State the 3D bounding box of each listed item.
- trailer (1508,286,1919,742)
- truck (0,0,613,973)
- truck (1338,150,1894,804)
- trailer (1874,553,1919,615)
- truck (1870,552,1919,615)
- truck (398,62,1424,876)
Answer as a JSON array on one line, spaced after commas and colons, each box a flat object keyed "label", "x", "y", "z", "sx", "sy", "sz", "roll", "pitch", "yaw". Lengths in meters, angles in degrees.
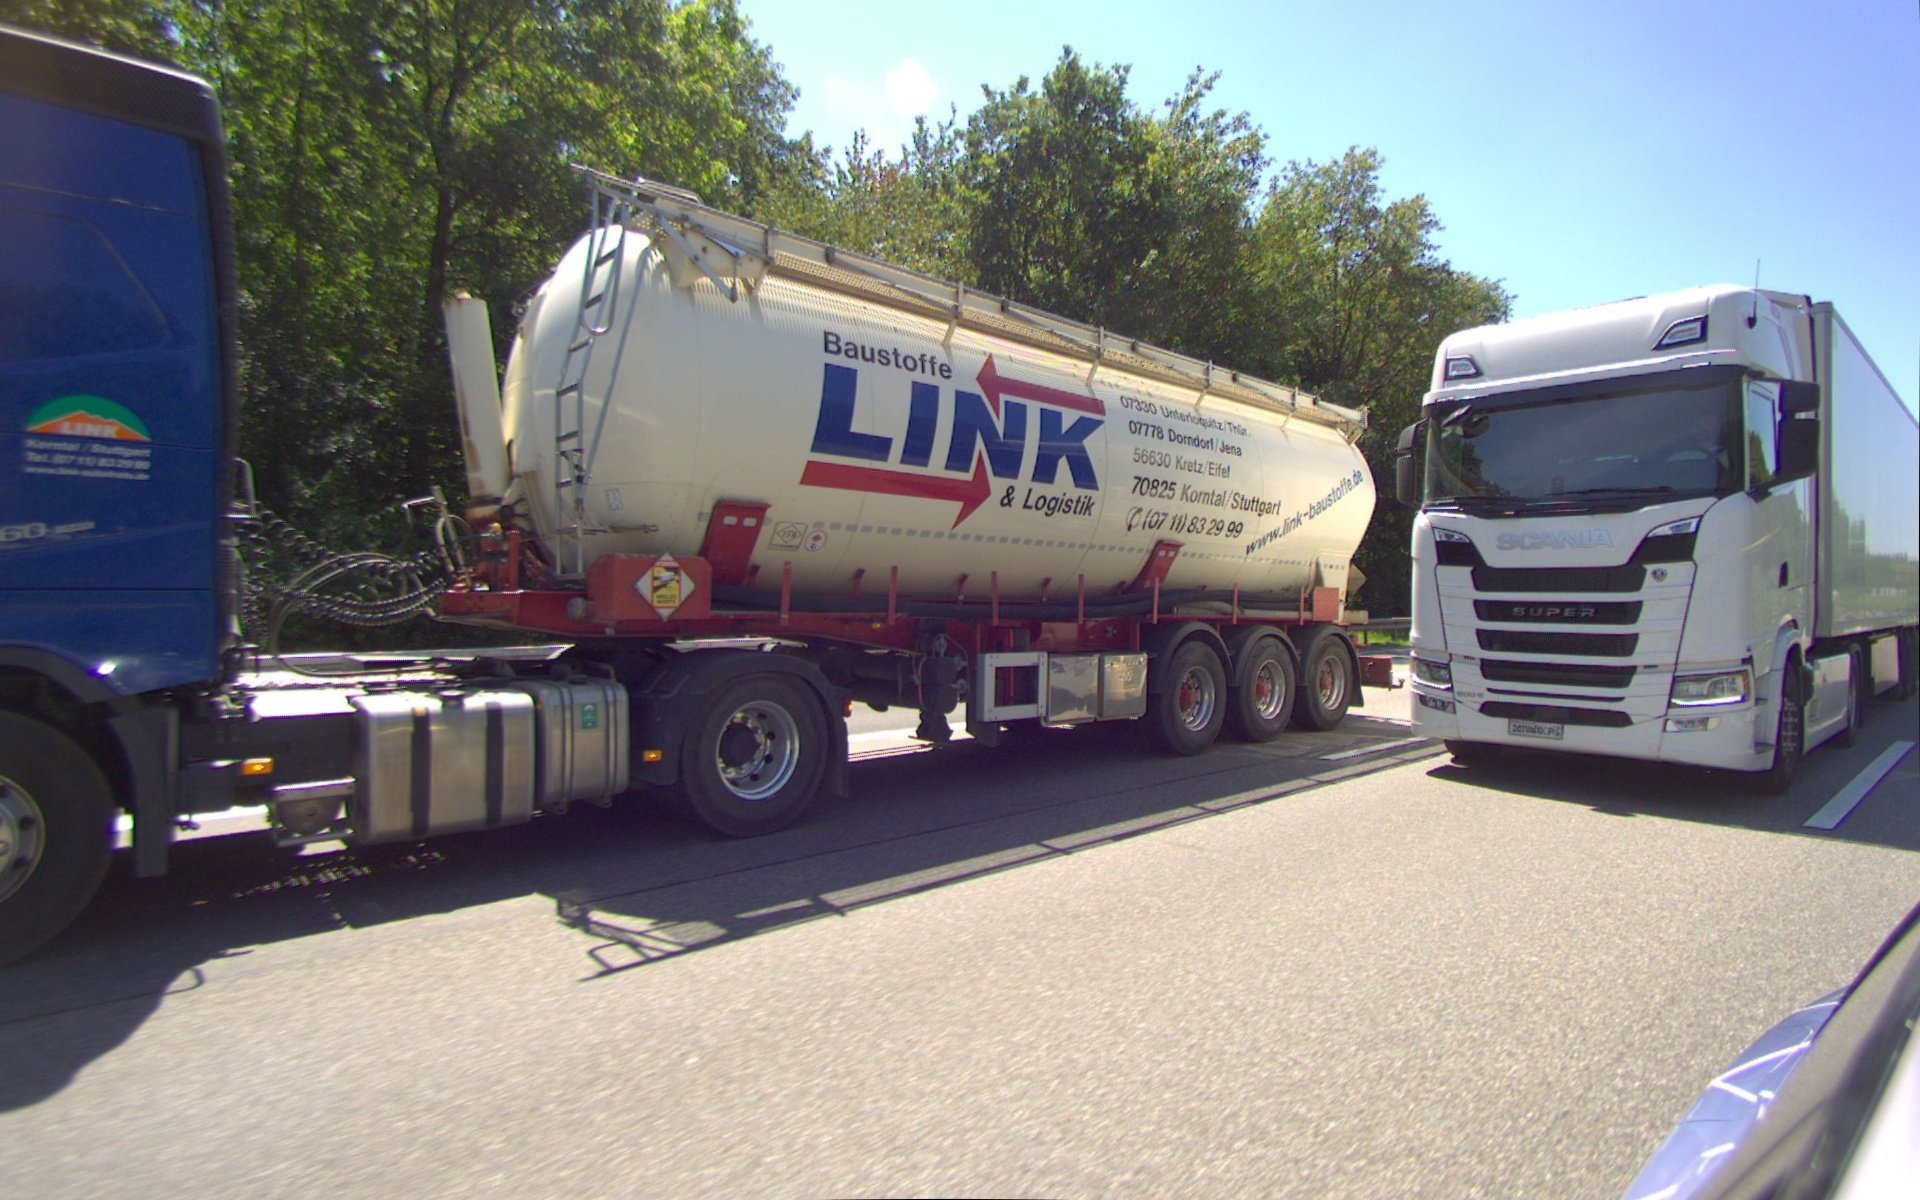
[{"label": "trailer", "x": 11.901, "y": -0.839, "z": 14.668, "sx": 12.142, "sy": 4.195, "sz": 3.228, "roll": 0, "pitch": 1, "yaw": -43}, {"label": "truck", "x": -4.162, "y": -0.638, "z": 5.040, "sx": 4.001, "sy": 4.089, "sz": 2.453, "roll": 0, "pitch": 0, "yaw": -41}, {"label": "truck", "x": 6.081, "y": -0.830, "z": 9.251, "sx": 4.482, "sy": 4.210, "sz": 3.233, "roll": 0, "pitch": 1, "yaw": -43}, {"label": "trailer", "x": 70.441, "y": -1.150, "z": 75.325, "sx": 12.148, "sy": 4.257, "sz": 2.793, "roll": 0, "pitch": 1, "yaw": -44}, {"label": "truck", "x": 65.279, "y": -1.141, "z": 70.270, "sx": 4.917, "sy": 4.257, "sz": 2.793, "roll": 0, "pitch": 1, "yaw": -44}, {"label": "truck", "x": 0.812, "y": -0.715, "z": 9.457, "sx": 10.359, "sy": 4.094, "sz": 2.446, "roll": -1, "pitch": 0, "yaw": -41}]
